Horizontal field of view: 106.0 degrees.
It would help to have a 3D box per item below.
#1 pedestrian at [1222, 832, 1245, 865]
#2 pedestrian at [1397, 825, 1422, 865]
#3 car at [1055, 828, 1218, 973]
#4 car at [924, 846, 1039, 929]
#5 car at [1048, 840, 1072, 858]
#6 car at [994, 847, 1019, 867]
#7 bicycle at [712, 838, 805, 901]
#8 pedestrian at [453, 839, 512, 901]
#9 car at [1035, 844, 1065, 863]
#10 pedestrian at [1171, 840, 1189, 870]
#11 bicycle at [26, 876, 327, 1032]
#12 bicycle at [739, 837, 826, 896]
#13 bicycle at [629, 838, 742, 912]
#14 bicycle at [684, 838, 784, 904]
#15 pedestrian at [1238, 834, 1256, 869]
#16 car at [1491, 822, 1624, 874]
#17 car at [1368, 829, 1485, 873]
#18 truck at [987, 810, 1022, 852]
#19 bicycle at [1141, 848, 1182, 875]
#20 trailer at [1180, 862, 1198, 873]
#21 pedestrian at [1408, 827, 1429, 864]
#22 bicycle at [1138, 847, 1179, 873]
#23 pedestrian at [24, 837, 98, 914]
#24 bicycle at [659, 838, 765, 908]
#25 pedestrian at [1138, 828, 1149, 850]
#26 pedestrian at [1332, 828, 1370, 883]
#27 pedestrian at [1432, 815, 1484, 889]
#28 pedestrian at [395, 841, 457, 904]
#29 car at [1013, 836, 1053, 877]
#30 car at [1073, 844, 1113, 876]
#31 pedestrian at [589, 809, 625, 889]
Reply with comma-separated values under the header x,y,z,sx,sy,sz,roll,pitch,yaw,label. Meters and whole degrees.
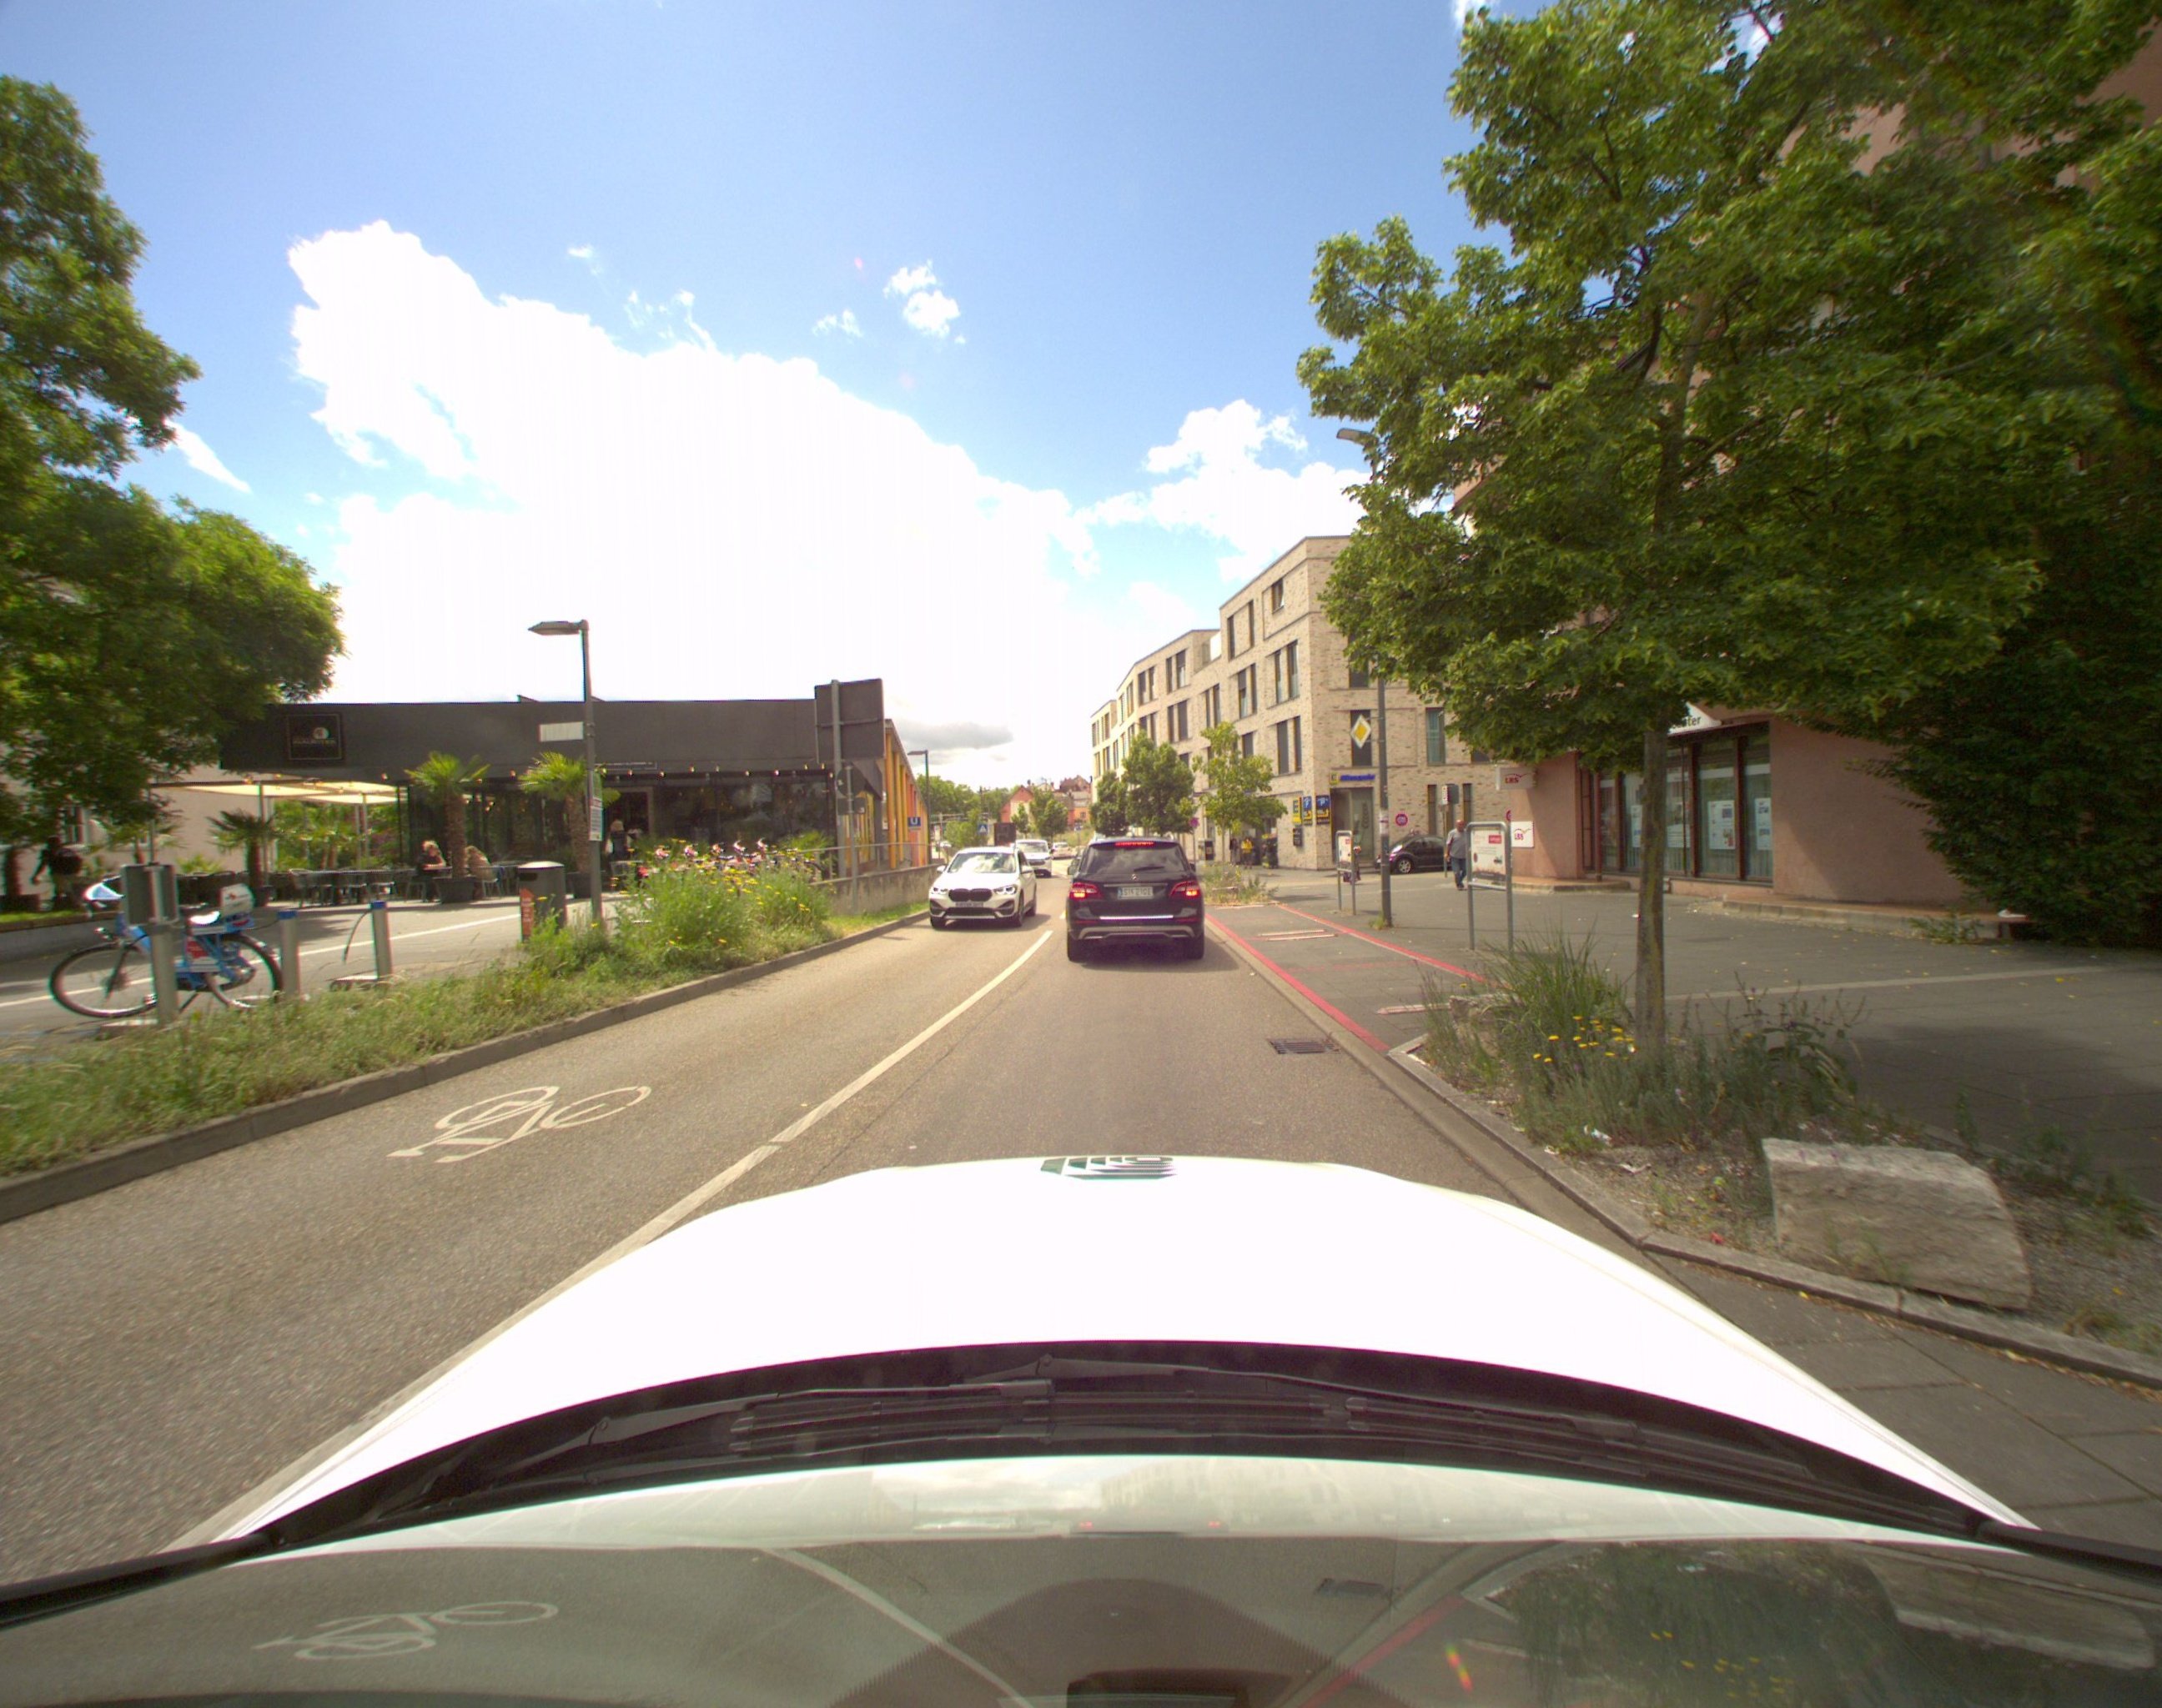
x,y,z,sx,sy,sz,roll,pitch,yaw,label
8.267,-0.300,44.193,1.016,1.741,0.656,-3,1,-14,pedestrian
14.090,-0.386,34.943,0.557,1.671,0.808,-1,-1,-31,pedestrian
0.738,0.552,12.729,1.987,1.746,4.532,-4,1,0,car
-1.999,0.613,17.544,1.815,1.584,4.167,0,1,2,car
-1.932,-0.457,74.249,1.692,1.483,3.786,-4,2,-9,car
-6.017,0.211,65.545,1.771,1.464,4.223,-1,1,-8,car
-6.219,0.300,15.748,1.540,1.127,0.534,-3,1,3,bicycle
-13.605,0.358,18.525,0.798,1.379,0.790,-1,-1,-10,pedestrian
-2.607,-0.069,68.075,1.888,1.465,4.055,-3,1,-10,car
5.250,0.074,43.348,0.810,1.565,0.929,-1,-1,-1,pedestrian
-7.112,0.766,6.455,1.681,1.081,0.515,-2,2,-2,bicycle
-6.147,0.250,16.817,1.540,1.127,0.534,-3,1,3,bicycle
-6.500,0.336,13.414,1.540,1.127,0.534,-3,1,3,bicycle
-6.333,0.304,14.888,1.540,1.127,0.534,-3,1,3,bicycle
8.344,-0.125,41.037,0.651,1.692,0.636,-2,1,30,pedestrian
15.755,-0.213,27.053,3.369,1.477,1.719,-4,1,1,car
13.694,-0.134,32.402,3.887,1.477,1.780,-4,1,-5,car
-9.013,-2.582,94.831,3.205,4.535,8.994,-1,0,-11,truck
3.855,0.364,39.132,1.819,1.201,0.755,-3,0,-4,bicycle
5.161,0.643,38.958,0.717,0.528,0.811,-2,0,-1,trailer
14.628,-0.370,35.290,0.524,1.573,0.597,-1,-1,-31,pedestrian
3.799,0.293,39.960,1.819,1.131,0.755,-3,0,-4,bicycle
-21.212,0.445,16.943,0.731,1.564,0.644,-1,-1,2,pedestrian
-6.393,0.323,14.152,1.540,1.127,0.534,-3,1,3,bicycle
4.317,-1.038,56.309,0.606,1.472,0.790,-3,2,-3,pedestrian
8.344,0.044,25.172,0.737,1.638,0.933,-3,1,39,pedestrian
9.070,-0.043,19.604,0.714,1.685,0.944,-3,-1,-1,pedestrian
-14.753,0.414,18.367,0.798,1.379,0.790,-1,-1,-10,pedestrian
-2.601,0.094,43.136,1.990,2.013,5.385,0,1,-5,car
0.627,0.286,44.221,1.724,1.456,3.802,-3,2,-5,car
-12.362,-0.137,21.255,0.632,2.052,0.666,-1,-1,-13,pedestrian
